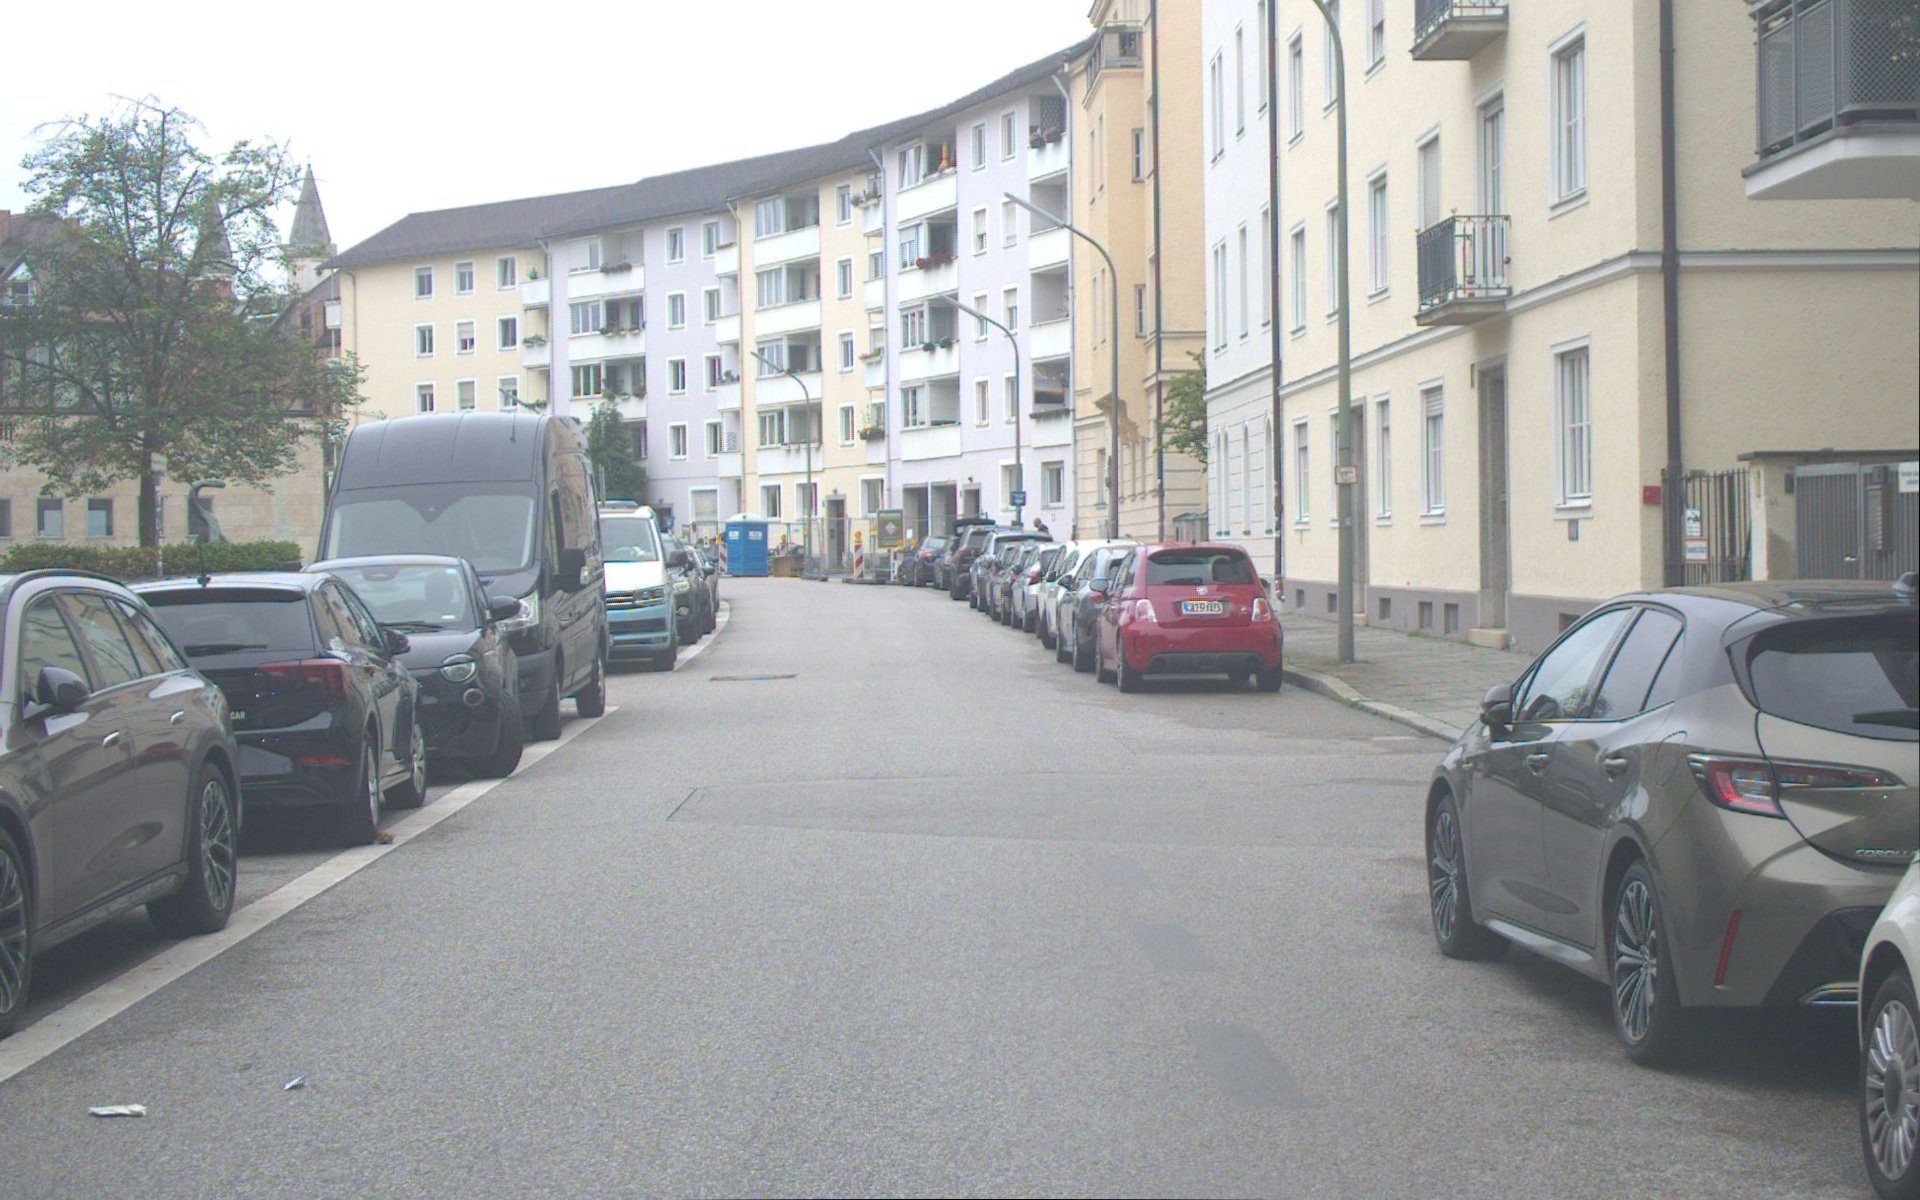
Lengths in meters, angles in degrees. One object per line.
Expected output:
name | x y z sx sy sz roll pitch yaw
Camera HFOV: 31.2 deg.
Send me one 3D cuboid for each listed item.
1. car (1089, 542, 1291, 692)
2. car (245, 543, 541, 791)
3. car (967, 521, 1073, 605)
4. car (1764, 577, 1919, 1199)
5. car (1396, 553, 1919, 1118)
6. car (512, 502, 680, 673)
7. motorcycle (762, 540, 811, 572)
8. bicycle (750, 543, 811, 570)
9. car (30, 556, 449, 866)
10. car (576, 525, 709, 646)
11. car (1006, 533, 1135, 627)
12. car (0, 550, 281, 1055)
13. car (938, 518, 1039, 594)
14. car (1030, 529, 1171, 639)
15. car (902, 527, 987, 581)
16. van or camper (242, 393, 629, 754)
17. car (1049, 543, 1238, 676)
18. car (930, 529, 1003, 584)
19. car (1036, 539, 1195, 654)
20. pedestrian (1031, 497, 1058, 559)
car | 2.318 0.139 35.448 1.654 1.425 3.757 0 1 -3
car | -3.847 0.391 23.860 1.652 1.492 3.910 -3 1 -5
car | 1.207 -0.793 71.034 1.846 1.658 4.499 0 1 -3
car | 2.923 0.725 7.005 1.617 1.462 3.747 0 1 -1
car | 2.731 0.609 11.463 1.771 1.470 4.218 0 1 -4
car | -4.393 -0.208 41.955 1.914 1.953 4.963 0 1 -5
motorcycle | -6.573 -1.666 129.925 0.931 1.217 2.507 -1 1 -26
bicycle | -7.196 -1.732 137.960 2.232 1.066 0.919 -1 1 -26
car | -3.900 0.523 19.259 1.675 1.431 4.287 -3 1 -4
car | -4.773 -0.253 52.165 1.714 1.683 4.141 -2 2 -2
car | 1.769 -0.359 56.241 1.724 1.445 4.188 0 1 -3
car | -3.940 0.649 12.355 1.863 1.536 5.092 -2 1 1
car | 0.636 -1.064 81.105 2.169 1.733 5.024 0 1 -2
car | 2.043 -0.263 50.923 1.650 1.538 3.994 0 1 -4
car | -0.472 -1.318 97.738 1.908 1.472 4.947 0 1 -6
van or camper | -4.247 -0.261 28.877 2.293 2.642 5.561 -3 1 0
car | 2.092 0.071 40.423 1.773 1.425 4.616 0 1 -3
car | 0.155 -1.168 91.487 1.630 1.412 3.680 0 1 -5
car | 2.030 -0.076 45.995 1.724 1.425 4.294 0 1 -3
pedestrian | 2.359 -2.006 96.012 0.617 1.684 0.919 -4 1 -2
